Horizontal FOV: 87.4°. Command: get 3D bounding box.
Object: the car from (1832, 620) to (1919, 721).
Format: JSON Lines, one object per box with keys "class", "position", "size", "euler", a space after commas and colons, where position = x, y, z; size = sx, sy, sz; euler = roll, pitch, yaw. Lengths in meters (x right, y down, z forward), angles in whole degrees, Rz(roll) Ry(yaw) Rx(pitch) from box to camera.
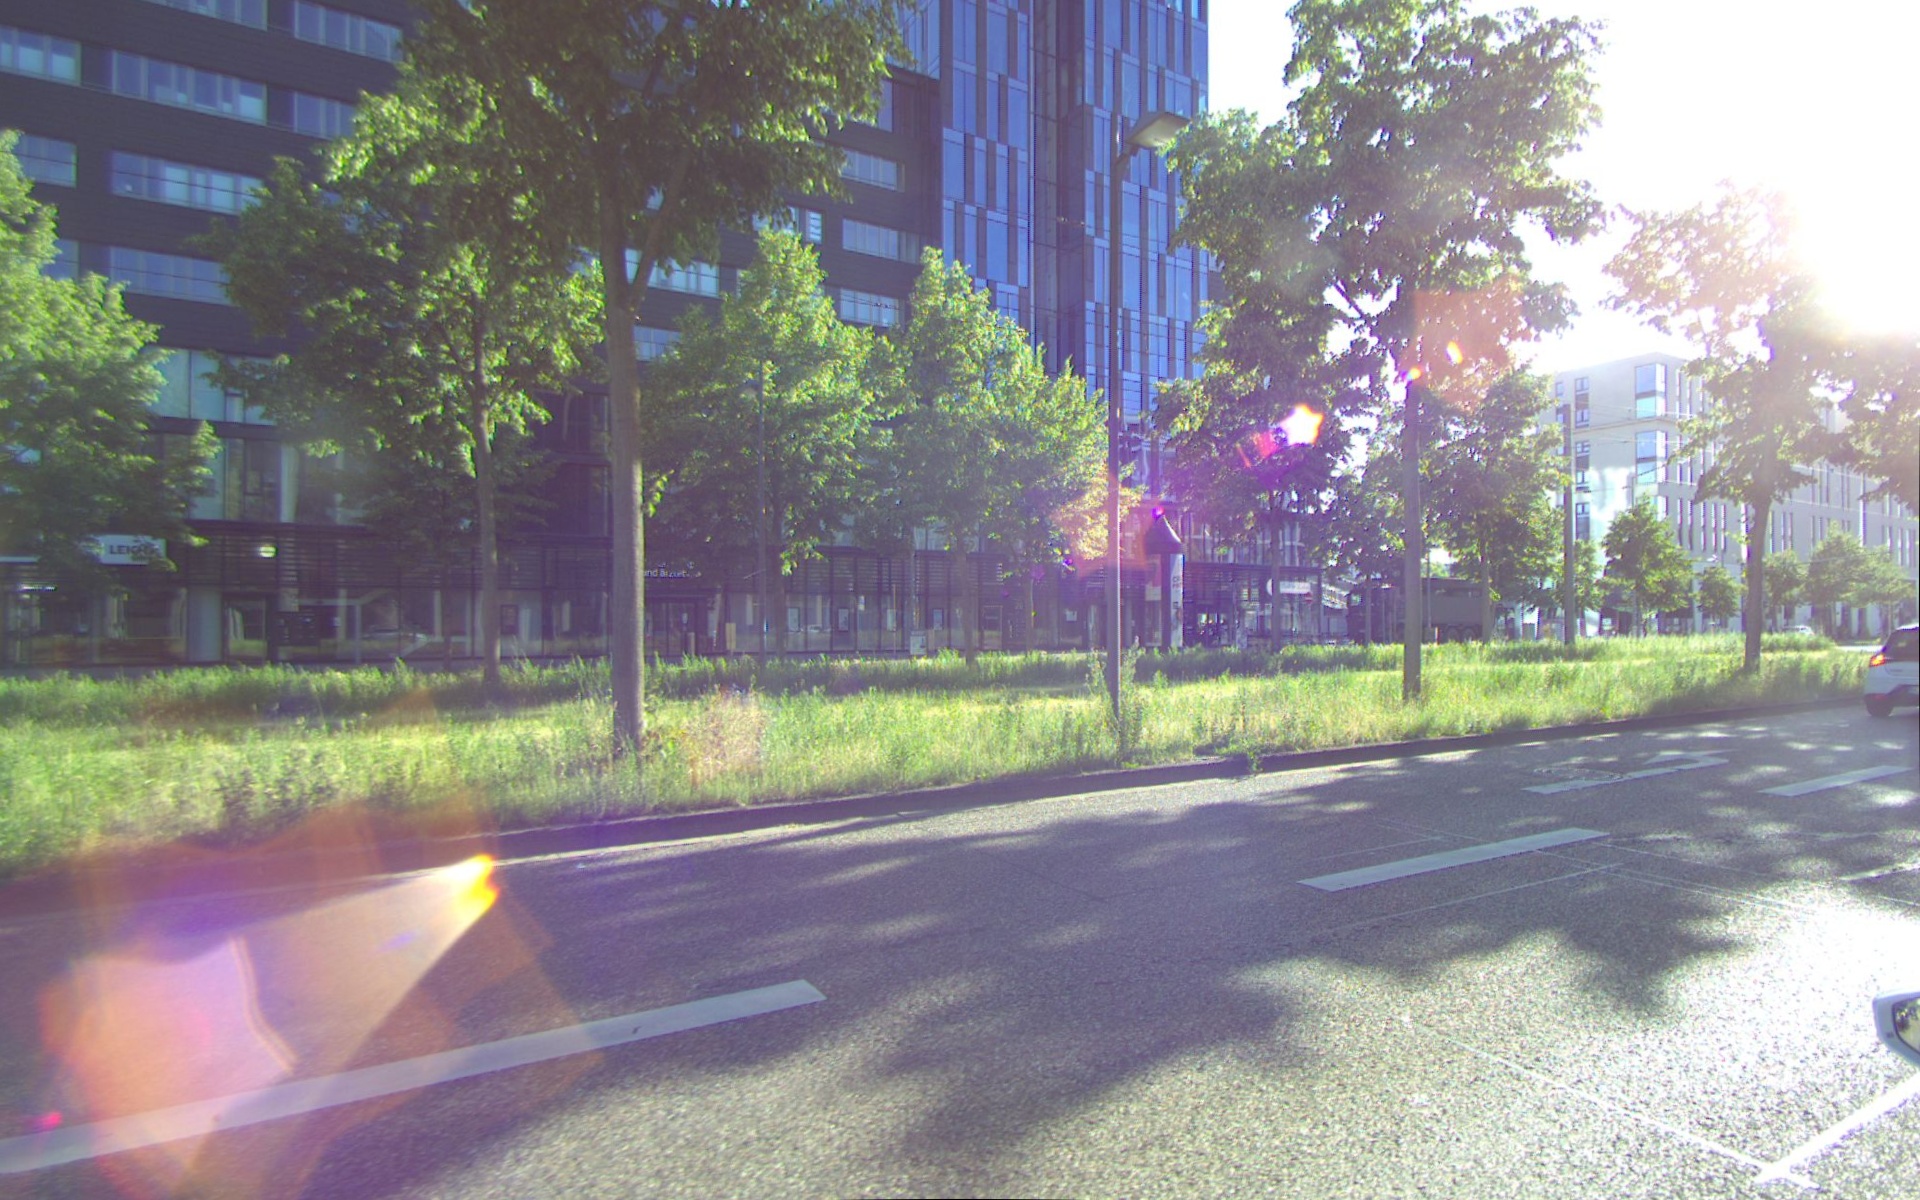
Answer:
{"class": "car", "position": [15.523, 1.050, 15.646], "size": [3.957, 1.460, 1.931], "euler": [1, -1, -33]}
